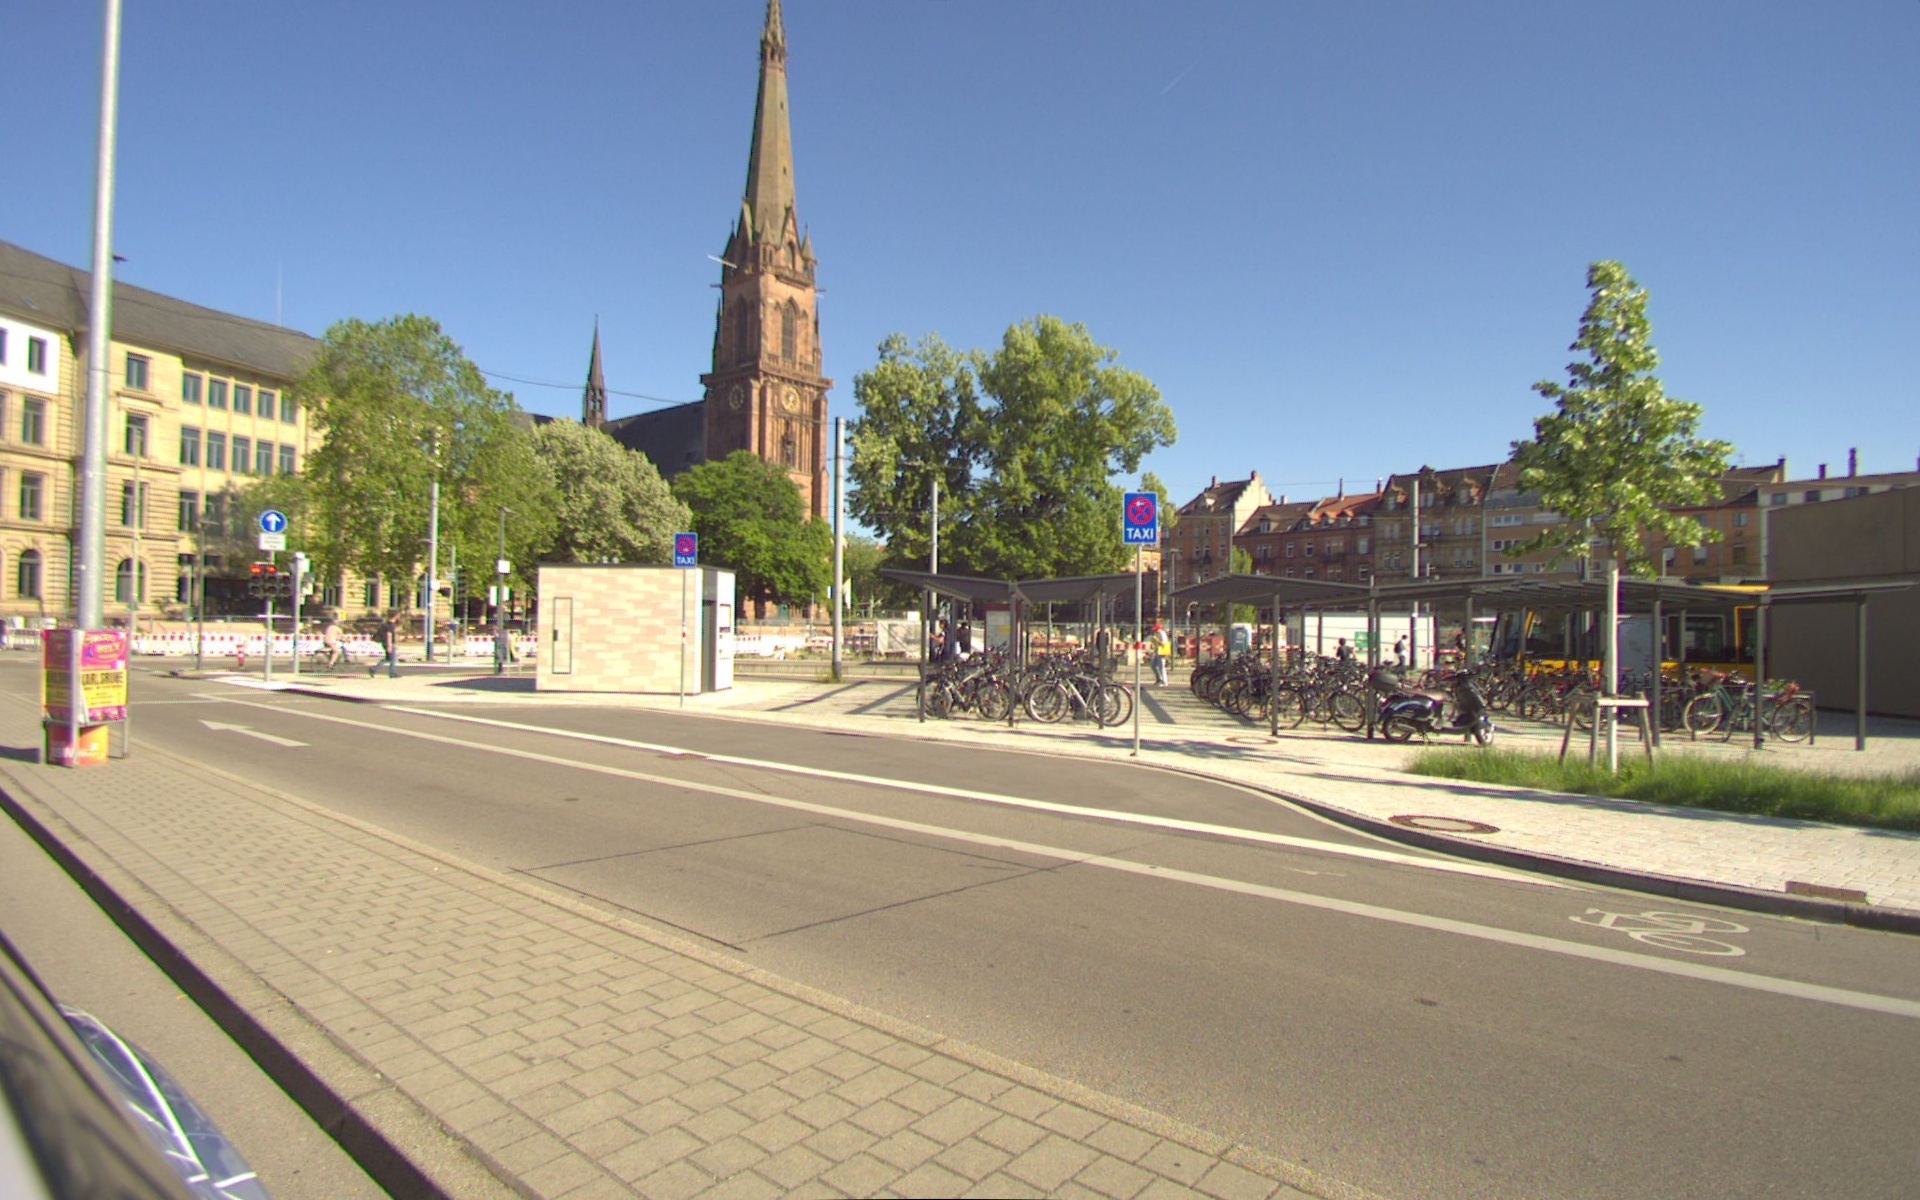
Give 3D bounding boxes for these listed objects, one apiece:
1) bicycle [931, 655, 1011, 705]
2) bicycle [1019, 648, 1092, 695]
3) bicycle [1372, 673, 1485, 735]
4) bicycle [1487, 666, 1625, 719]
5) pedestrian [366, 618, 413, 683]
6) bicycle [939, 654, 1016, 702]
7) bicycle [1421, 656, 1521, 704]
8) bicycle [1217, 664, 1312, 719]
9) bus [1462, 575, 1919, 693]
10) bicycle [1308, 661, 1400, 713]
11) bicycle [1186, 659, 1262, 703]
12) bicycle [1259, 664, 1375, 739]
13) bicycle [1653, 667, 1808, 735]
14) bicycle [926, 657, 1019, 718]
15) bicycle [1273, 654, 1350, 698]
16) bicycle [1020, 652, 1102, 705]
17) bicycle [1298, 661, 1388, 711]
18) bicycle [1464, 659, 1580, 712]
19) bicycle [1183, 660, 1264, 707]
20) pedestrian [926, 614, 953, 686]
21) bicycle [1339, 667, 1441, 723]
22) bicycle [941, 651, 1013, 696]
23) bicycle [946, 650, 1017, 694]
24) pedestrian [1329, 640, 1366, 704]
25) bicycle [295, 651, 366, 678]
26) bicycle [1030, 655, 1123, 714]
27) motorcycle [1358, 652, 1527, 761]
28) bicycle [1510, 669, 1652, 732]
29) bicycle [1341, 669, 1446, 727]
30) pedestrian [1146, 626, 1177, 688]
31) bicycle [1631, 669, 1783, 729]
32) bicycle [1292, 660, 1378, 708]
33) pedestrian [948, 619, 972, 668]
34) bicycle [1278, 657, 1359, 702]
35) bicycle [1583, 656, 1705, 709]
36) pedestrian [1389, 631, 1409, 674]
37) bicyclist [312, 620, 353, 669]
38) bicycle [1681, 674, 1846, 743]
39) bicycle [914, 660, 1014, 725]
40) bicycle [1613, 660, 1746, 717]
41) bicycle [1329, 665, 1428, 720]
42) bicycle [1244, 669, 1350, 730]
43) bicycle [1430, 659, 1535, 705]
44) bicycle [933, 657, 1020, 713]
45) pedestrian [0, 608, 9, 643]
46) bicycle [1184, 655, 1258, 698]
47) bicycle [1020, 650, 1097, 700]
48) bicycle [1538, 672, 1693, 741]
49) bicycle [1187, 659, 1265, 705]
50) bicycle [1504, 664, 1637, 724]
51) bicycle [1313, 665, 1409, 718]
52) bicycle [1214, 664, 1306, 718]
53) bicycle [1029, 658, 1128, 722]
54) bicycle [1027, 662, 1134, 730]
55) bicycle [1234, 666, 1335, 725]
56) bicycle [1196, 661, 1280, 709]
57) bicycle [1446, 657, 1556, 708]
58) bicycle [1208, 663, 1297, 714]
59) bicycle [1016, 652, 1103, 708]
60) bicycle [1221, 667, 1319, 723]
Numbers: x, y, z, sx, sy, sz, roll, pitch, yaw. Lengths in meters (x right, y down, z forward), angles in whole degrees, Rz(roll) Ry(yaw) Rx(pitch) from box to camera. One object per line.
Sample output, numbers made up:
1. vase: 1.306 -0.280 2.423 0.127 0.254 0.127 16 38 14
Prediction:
1. bicycle: 0.234 1.678 21.398 1.663 1.006 0.406 0 0 8
2. bicycle: 2.319 1.726 24.672 1.755 1.083 0.406 1 0 6
3. bicycle: 7.772 1.726 16.815 1.661 0.980 0.406 -1 0 3
4. bicycle: 11.618 1.801 19.784 2.208 0.951 0.685 -1 0 7
5. pedestrian: -15.704 1.368 27.873 0.987 1.756 0.631 2 -2 -42
6. bicycle: 0.389 1.707 22.279 1.663 1.006 0.406 0 0 8
7. bicycle: 12.305 1.922 24.423 2.048 1.045 0.533 1 3 8
8. bicycle: 5.818 1.740 19.369 1.661 0.980 0.406 1 0 3
9. bus: 21.859 0.936 28.651 13.462 3.095 2.859 0 -2 6
10. bicycle: 7.862 1.733 20.223 1.661 0.980 0.406 -1 0 3
11. bicycle: 6.142 1.884 23.618 1.661 0.980 0.406 1 -5 3
12. bicycle: 5.938 1.687 16.884 1.662 0.979 0.406 7 0 3
13. bicycle: 12.993 1.699 17.109 2.030 1.087 0.604 -1 0 7
14. bicycle: 0.236 1.599 18.596 1.663 1.006 0.406 2 0 8
15. bicycle: 8.296 1.788 23.909 1.661 0.980 0.406 -1 0 3
16. bicycle: 2.198 1.697 22.023 1.755 1.083 0.406 1 0 6
17. bicycle: 7.865 1.763 20.820 1.661 0.980 0.406 -1 0 3
18. bicycle: 11.781 1.798 21.258 2.048 1.045 0.533 -1 2 8
19. bicycle: 5.790 1.840 22.290 1.661 0.980 0.406 1 -5 3
20. pedestrian: -0.548 1.318 26.894 0.692 1.874 0.621 0 -2 -1
21. bicycle: 7.827 1.725 18.454 1.661 0.980 0.406 -1 0 3
22. bicycle: 0.398 1.704 23.656 1.663 1.006 0.406 0 0 8
23. bicycle: 0.522 1.704 24.182 1.663 1.006 0.406 0 0 8
24. pedestrian: 11.981 2.217 31.290 0.757 1.931 0.805 1 -2 -11
25. bicycle: -20.671 2.102 33.288 0.734 0.788 2.042 0 -2 15
26. bicycle: 2.240 1.623 19.577 1.755 1.083 0.406 1 0 6
27. motorcycle: 7.197 1.573 15.154 2.061 1.227 0.569 10 -1 3
28. bicycle: 10.804 1.743 17.658 2.048 1.045 0.533 -1 0 8
29. bicycle: 7.647 1.727 17.886 1.661 0.980 0.406 -1 0 3
30. pedestrian: 5.347 1.504 26.914 0.692 1.635 0.621 0 -2 -1
31. bicycle: 13.484 1.783 18.323 2.117 1.005 0.690 -1 0 7
32. bicycle: 7.993 1.792 21.617 1.661 0.980 0.406 -1 0 3
33. pedestrian: -0.002 1.680 39.103 0.610 1.874 0.703 2 -2 -39
34. bicycle: 8.078 1.791 22.832 1.661 0.980 0.406 -1 0 3
35. bicycle: 14.082 1.699 20.871 2.048 1.045 0.533 -1 0 8
36. pedestrian: 19.409 2.314 44.753 0.637 1.885 0.529 0 -2 5
37. bicyclist: -20.655 1.452 33.319 0.735 1.583 0.881 0 -2 16
38. bicycle: 12.771 1.717 16.131 2.048 1.045 0.533 -1 0 8
39. bicycle: 0.072 1.576 17.377 1.663 1.006 0.406 2 0 8
40. bicycle: 13.857 1.702 19.519 2.048 1.045 0.533 -1 0 8
41. bicycle: 7.847 1.733 19.007 1.661 0.980 0.406 -1 0 3
42. bicycle: 5.798 1.712 17.457 1.661 0.980 0.406 1 0 3
43. bicycle: 12.036 1.882 23.368 2.048 1.045 0.533 -1 -4 8
44. bicycle: 0.333 1.666 19.939 1.663 1.006 0.406 2 0 8
45. pedestrian: -47.543 1.273 50.017 0.540 1.733 0.538 0 -2 3
46. bicycle: 6.261 1.839 24.306 1.661 0.980 0.406 1 -5 3
47. bicycle: 2.277 1.734 23.493 1.755 1.083 0.406 1 0 6
48. bicycle: 10.577 1.713 16.383 2.048 1.045 0.533 -1 0 8
49. bicycle: 6.058 1.862 23.045 1.661 0.980 0.406 1 -5 3
50. bicycle: 11.326 1.736 18.806 2.048 1.045 0.533 -1 0 8
51. bicycle: 7.721 1.765 19.523 1.661 0.980 0.406 -1 0 3
52. bicycle: 5.906 1.783 19.952 1.661 0.980 0.406 1 0 3
53. bicycle: 2.144 1.619 18.331 1.753 1.083 0.406 1 0 6
54. bicycle: 2.026 1.608 17.087 1.753 1.083 0.406 1 -3 6
55. bicycle: 5.820 1.712 18.182 1.661 0.980 0.406 1 0 3
56. bicycle: 5.930 1.808 21.634 1.661 0.980 0.406 1 -5 3
57. bicycle: 11.870 1.804 22.249 2.048 1.045 0.533 -1 2 8
58. bicycle: 5.929 1.787 20.558 1.661 0.980 0.406 1 -5 3
59. bicycle: 2.057 1.645 20.967 1.755 1.083 0.406 1 0 6
60. bicycle: 5.733 1.752 18.762 1.661 0.980 0.406 -1 0 3
